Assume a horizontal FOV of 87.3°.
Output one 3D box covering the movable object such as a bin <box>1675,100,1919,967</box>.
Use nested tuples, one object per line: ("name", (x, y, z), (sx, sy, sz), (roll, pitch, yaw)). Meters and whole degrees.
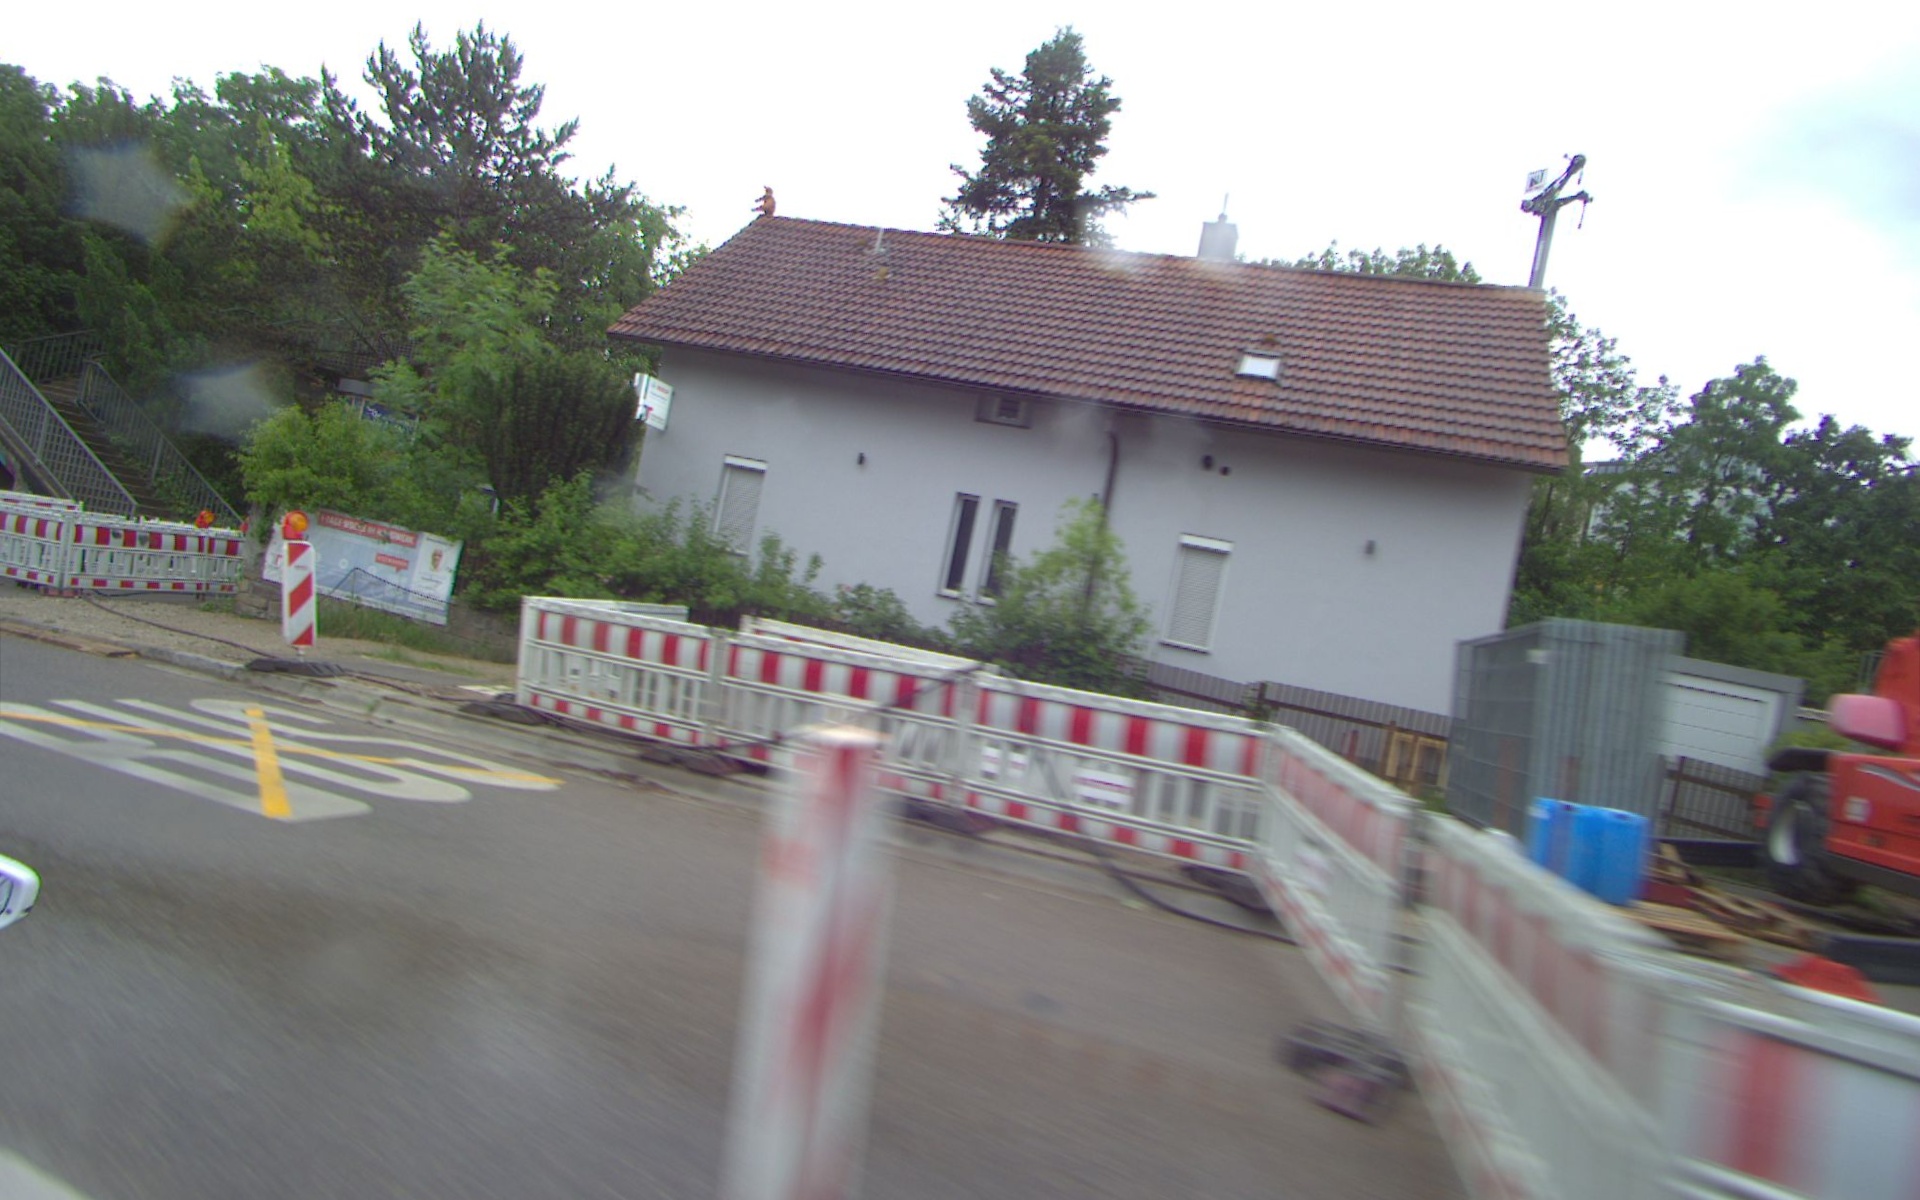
("movable object such as a bin", (8.745, -0.564, 7.529), (2.988, 6.764, 6.981), (7, -2, 19))
